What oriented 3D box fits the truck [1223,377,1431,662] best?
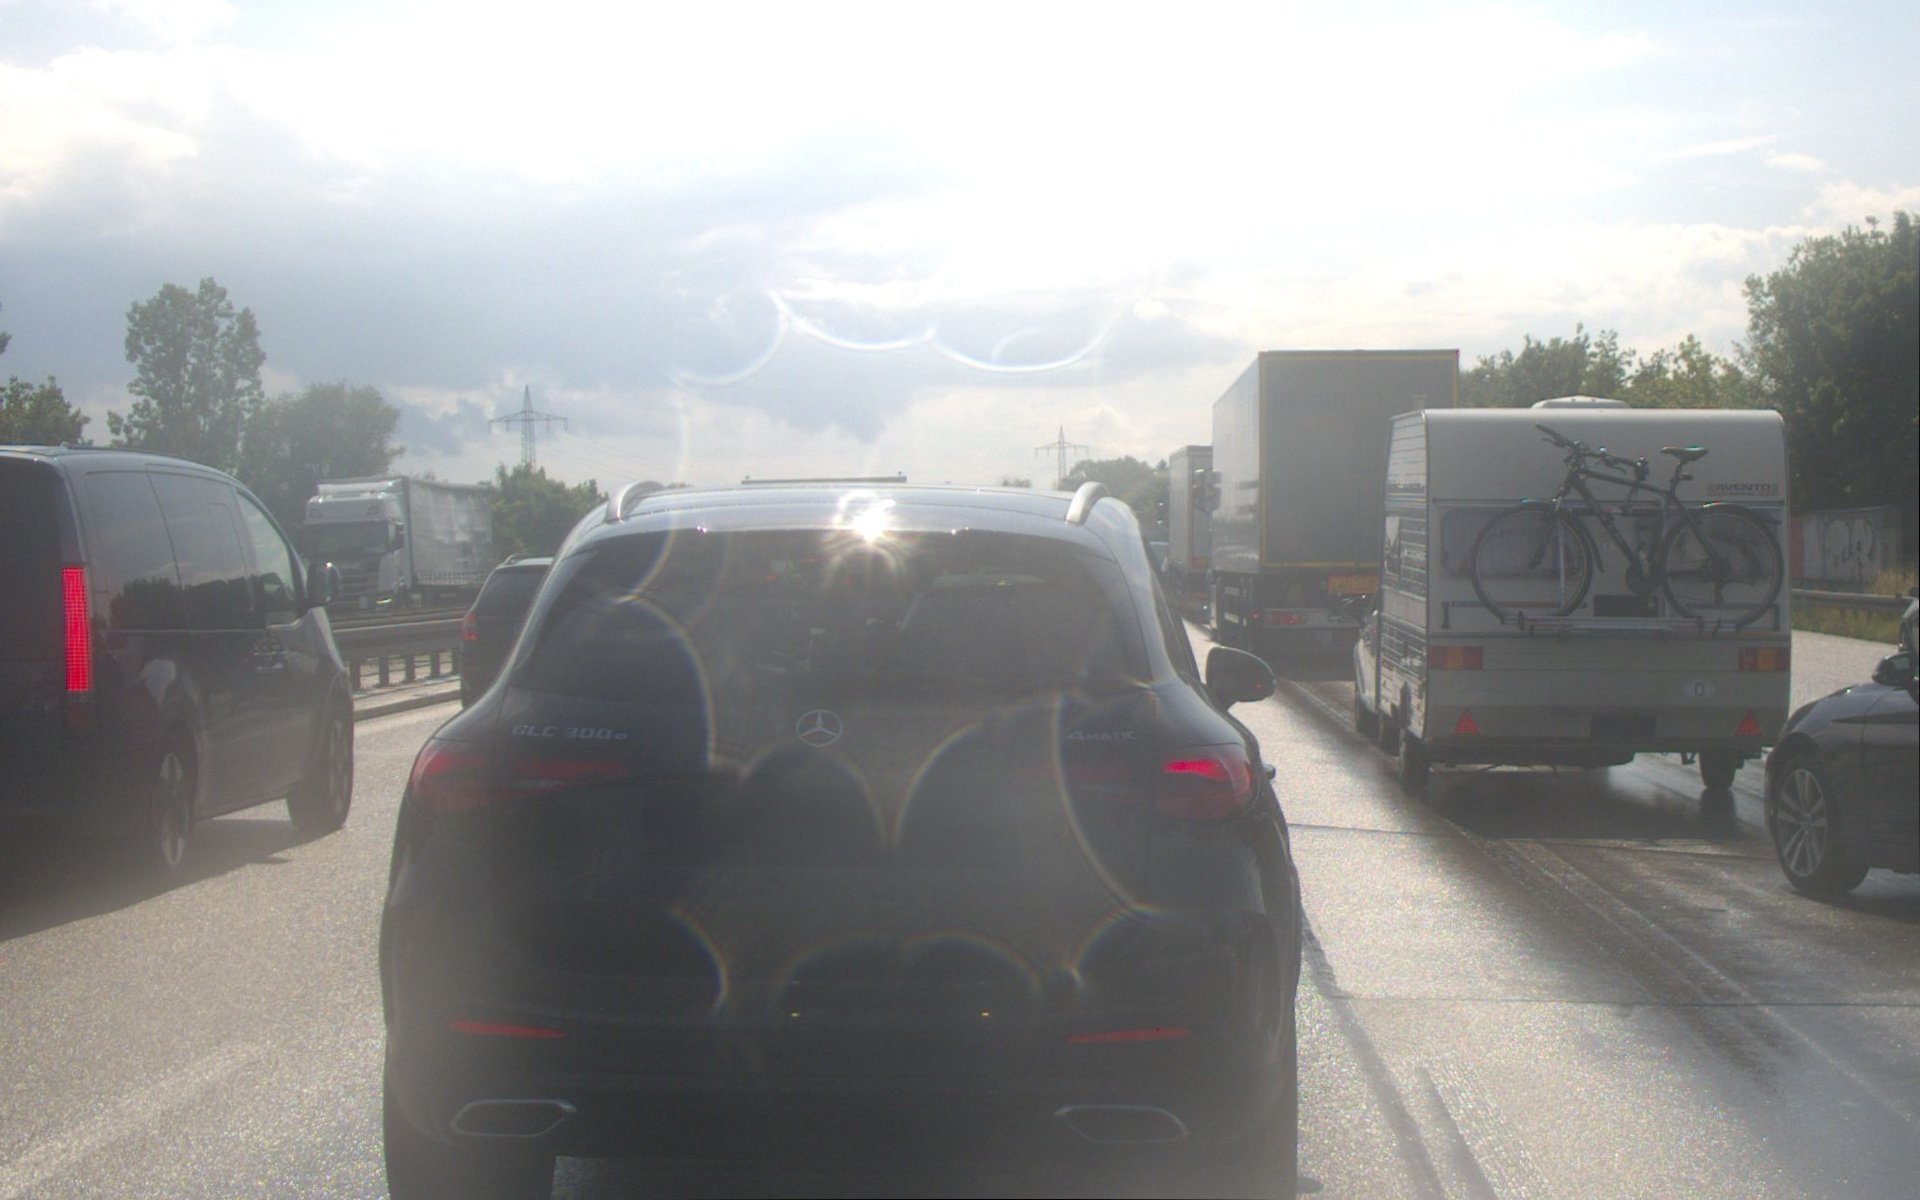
[{"bbox_3d":[5.612,-1.220,53.148,2.996,4.152,5.239,1,1,5],"label":"truck"}]

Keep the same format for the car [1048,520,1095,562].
[{"bbox_3d":[4.761,-2.522,147.187,1.876,1.754,4.000,1,1,0],"label":"car"}]

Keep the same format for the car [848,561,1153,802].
[{"bbox_3d":[0.344,0.452,22.033,1.757,1.382,3.944,0,1,4],"label":"car"}]

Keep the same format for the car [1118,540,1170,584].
[{"bbox_3d":[7.545,-1.571,141.490,1.876,1.754,4.000,1,1,0],"label":"car"}]

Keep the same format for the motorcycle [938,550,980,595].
[{"bbox_3d":[-0.029,-0.786,98.515,1.074,1.267,2.690,0,1,3],"label":"motorcycle"}]

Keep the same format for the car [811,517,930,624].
[{"bbox_3d":[-1.794,-0.619,70.296,1.994,2.007,4.000,4,1,3],"label":"car"}]

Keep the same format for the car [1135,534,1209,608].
[{"bbox_3d":[6.192,-0.855,100.567,1.994,2.007,4.000,4,1,3],"label":"car"}]

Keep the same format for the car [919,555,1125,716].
[{"bbox_3d":[0.648,0.295,32.533,1.806,1.402,4.000,1,1,3],"label":"car"}]

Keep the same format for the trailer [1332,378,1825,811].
[{"bbox_3d":[3.931,-0.069,23.171,2.374,2.475,6.522,1,1,2],"label":"trailer"}]

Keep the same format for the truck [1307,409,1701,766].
[{"bbox_3d":[4.088,-0.121,26.916,2.374,2.468,5.756,1,1,2],"label":"truck"}]

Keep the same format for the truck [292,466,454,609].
[{"bbox_3d":[-16.185,-1.649,95.369,2.862,3.808,7.877,0,0,2],"label":"truck"}]

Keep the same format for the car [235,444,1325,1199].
[{"bbox_3d":[-0.242,0.519,8.473,1.994,1.656,4.405,0,1,2],"label":"car"}]

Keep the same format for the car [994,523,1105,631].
[{"bbox_3d":[1.757,-0.463,66.027,1.994,2.007,4.000,0,1,3],"label":"car"}]

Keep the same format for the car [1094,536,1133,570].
[{"bbox_3d":[8.075,-2.455,181.217,1.876,1.754,4.000,1,1,0],"label":"car"}]

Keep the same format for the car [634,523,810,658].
[{"bbox_3d":[-3.153,-0.148,46.323,1.993,1.714,4.000,1,1,1],"label":"car"}]

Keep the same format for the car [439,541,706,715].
[{"bbox_3d":[-3.519,0.207,31.904,1.757,1.511,4.208,0,1,4],"label":"car"}]

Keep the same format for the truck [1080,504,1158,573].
[{"bbox_3d":[9.505,-3.651,207.043,3.842,4.003,11.222,1,1,-1],"label":"truck"}]

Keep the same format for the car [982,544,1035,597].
[{"bbox_3d":[1.954,-1.204,138.746,1.993,2.007,4.000,4,1,0],"label":"car"}]

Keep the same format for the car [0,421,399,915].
[{"bbox_3d":[-4.296,0.233,16.658,1.994,2.007,5.269,0,1,3],"label":"car"}]

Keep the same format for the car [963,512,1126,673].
[{"bbox_3d":[1.159,-0.123,45.528,1.994,2.007,4.000,1,1,3],"label":"car"}]

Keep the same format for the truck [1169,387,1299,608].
[{"bbox_3d":[6.236,-2.293,79.097,2.502,4.813,7.543,1,1,2],"label":"truck"}]

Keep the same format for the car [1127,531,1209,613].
[{"bbox_3d":[5.348,-0.730,88.311,1.994,2.007,4.000,2,1,3],"label":"car"}]

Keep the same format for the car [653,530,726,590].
[{"bbox_3d":[-10.381,-1.578,132.520,1.994,2.200,6.980,1,1,2],"label":"car"}]

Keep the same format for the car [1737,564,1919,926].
[{"bbox_3d":[4.865,0.584,13.747,1.848,1.459,4.257,-1,1,-11],"label":"car"}]

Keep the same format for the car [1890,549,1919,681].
[{"bbox_3d":[12.289,0.199,40.229,1.848,1.563,4.000,1,1,2],"label":"car"}]

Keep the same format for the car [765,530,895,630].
[{"bbox_3d":[-2.364,-0.384,63.511,1.994,1.766,4.000,1,1,3],"label":"car"}]

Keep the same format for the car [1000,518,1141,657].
[{"bbox_3d":[1.793,-0.221,54.528,1.994,2.007,4.000,4,1,3],"label":"car"}]

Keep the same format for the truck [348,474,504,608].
[{"bbox_3d":[-15.895,-1.677,103.015,2.848,3.839,9.422,0,0,2],"label":"truck"}]

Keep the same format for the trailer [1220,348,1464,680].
[{"bbox_3d":[5.158,-1.140,47.568,3.007,4.152,8.534,1,1,5],"label":"trailer"}]
